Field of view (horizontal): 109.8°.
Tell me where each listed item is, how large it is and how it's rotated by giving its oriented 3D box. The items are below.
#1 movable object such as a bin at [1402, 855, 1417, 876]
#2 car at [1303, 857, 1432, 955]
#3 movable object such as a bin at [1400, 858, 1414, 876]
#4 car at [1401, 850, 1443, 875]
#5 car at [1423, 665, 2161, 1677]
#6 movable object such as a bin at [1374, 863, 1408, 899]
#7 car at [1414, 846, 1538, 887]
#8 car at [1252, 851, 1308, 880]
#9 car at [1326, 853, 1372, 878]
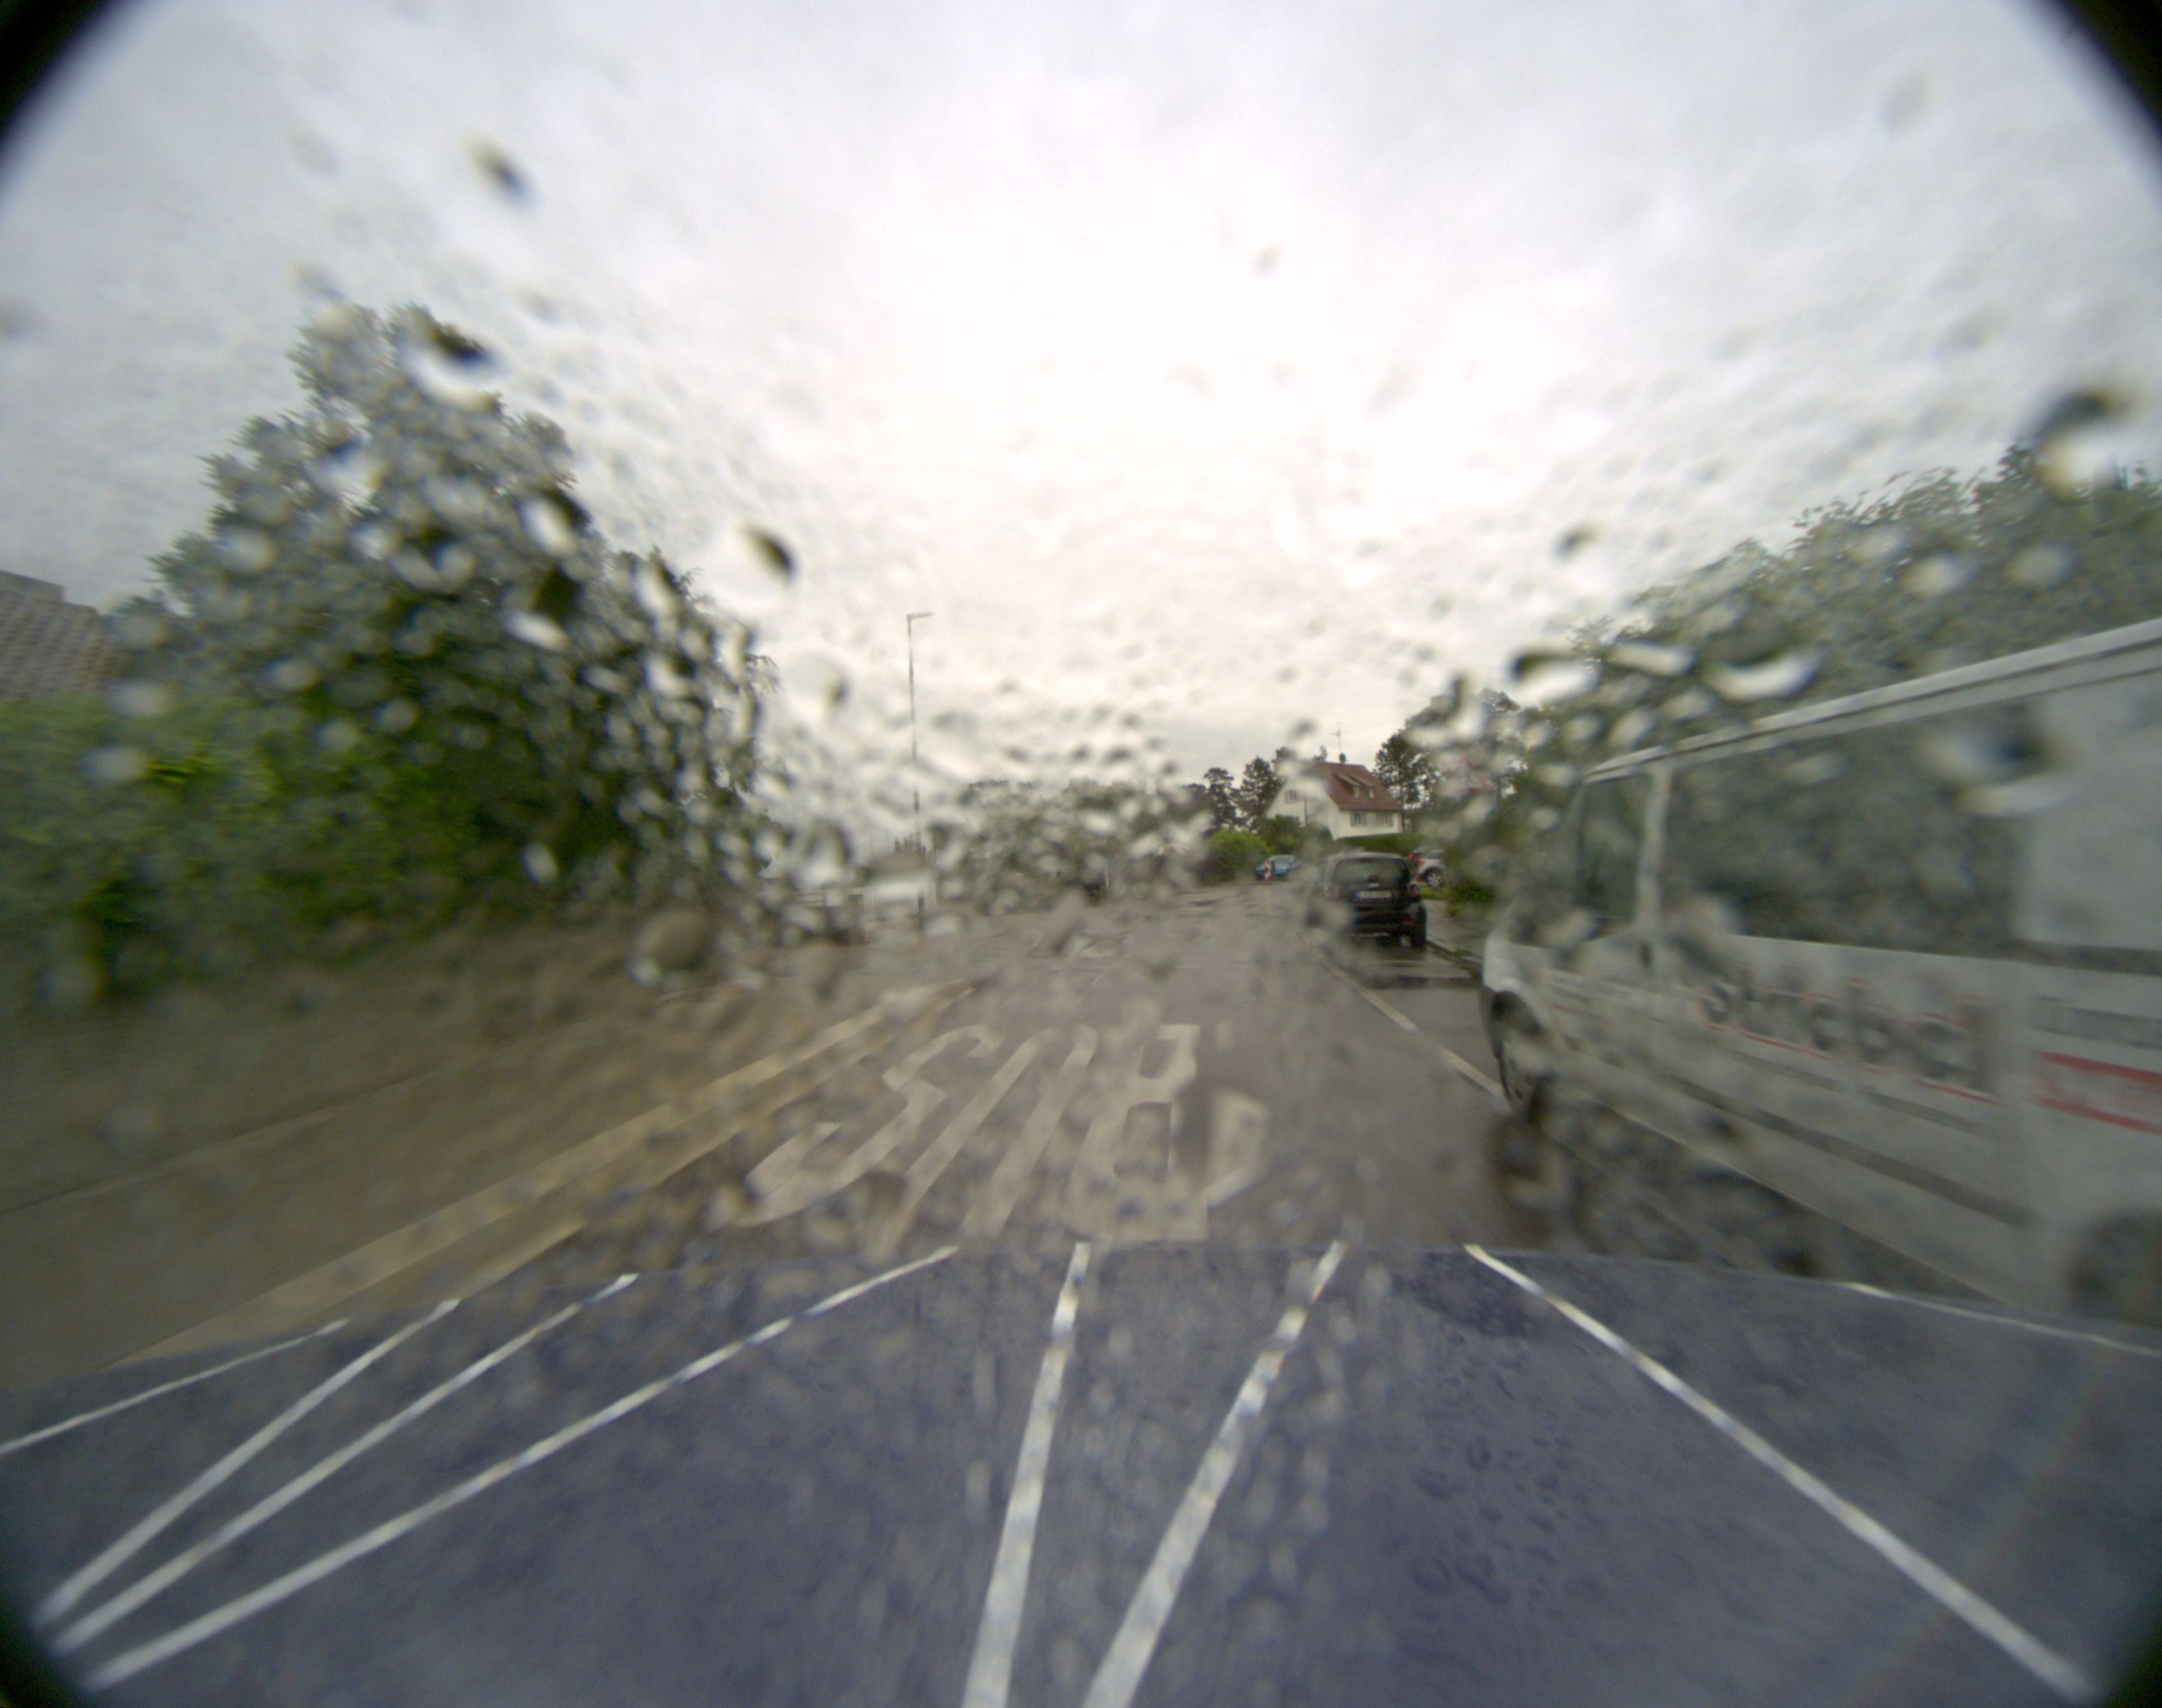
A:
[{"bbox_3d":[17.460,0.610,40.394,0.692,1.085,0.421,0,0,36],"label":"movable object such as a bin"},{"bbox_3d":[4.948,0.834,13.476,1.605,1.503,2.945,-2,0,10],"label":"car"},{"bbox_3d":[17.172,0.682,40.019,0.579,0.934,0.505,0,0,36],"label":"movable object such as a bin"},{"bbox_3d":[24.520,0.575,54.529,1.931,1.596,4.352,-2,0,35],"label":"car"},{"bbox_3d":[3.211,0.593,2.502,2.116,1.963,5.174,-2,0,4],"label":"car"},{"bbox_3d":[9.682,0.829,23.719,0.846,1.061,0.623,-5,-2,28],"label":"movable object such as a bin"},{"bbox_3d":[15.238,0.477,29.394,3.988,1.432,1.772,-1,2,39],"label":"car"},{"bbox_3d":[11.373,0.629,43.279,1.796,1.460,4.223,-3,0,33],"label":"car"},{"bbox_3d":[19.118,0.815,54.105,1.903,1.532,4.224,-3,0,35],"label":"car"}]
